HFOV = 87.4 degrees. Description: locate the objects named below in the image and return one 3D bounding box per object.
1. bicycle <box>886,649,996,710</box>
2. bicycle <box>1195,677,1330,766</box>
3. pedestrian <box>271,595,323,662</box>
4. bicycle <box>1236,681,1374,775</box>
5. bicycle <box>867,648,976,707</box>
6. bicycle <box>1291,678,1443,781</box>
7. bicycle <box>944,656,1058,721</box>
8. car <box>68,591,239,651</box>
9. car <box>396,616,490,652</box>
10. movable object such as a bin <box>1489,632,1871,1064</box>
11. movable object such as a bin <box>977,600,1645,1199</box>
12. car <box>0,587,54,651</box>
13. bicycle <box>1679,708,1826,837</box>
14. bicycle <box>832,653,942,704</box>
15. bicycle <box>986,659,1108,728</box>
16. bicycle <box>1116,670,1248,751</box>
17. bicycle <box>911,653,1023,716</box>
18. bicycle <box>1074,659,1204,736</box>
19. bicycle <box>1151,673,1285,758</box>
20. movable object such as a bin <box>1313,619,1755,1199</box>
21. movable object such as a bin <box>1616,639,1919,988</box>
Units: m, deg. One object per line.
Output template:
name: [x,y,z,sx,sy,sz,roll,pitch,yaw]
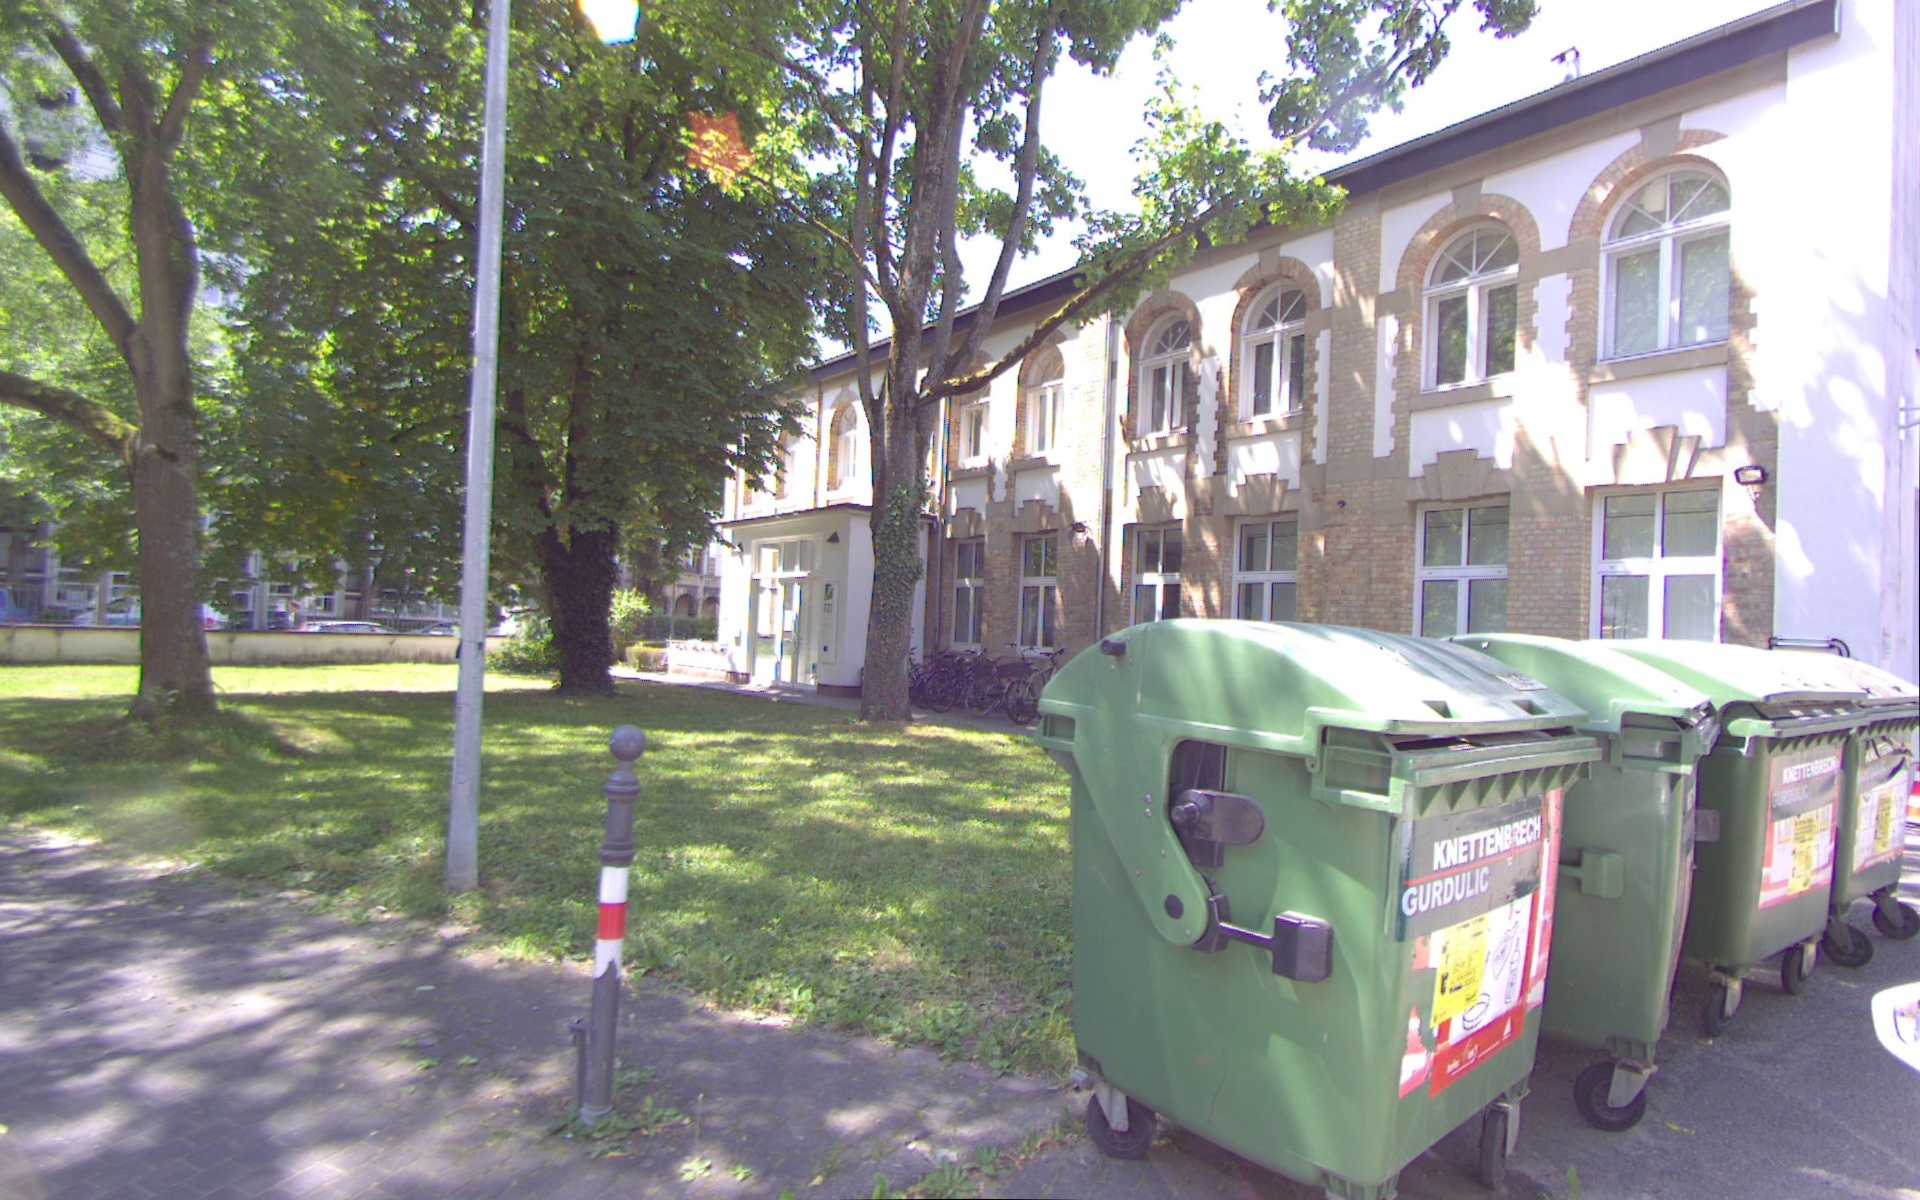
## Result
bicycle: [-0.317,1.441,18.397,0.562,1.024,2.247,1,-2,43]
bicycle: [3.961,1.531,13.029,2.243,1.024,0.600,3,-2,-42]
pedestrian: [-16.175,0.684,24.520,0.684,1.588,0.744,1,-1,22]
bicycle: [4.318,1.543,12.476,2.243,1.024,0.600,3,-2,-42]
bicycle: [-0.695,1.435,18.909,0.624,1.025,2.247,1,-2,43]
bicycle: [4.882,1.493,11.973,2.239,1.096,0.601,3,-2,-37]
bicycle: [0.731,1.482,17.163,0.599,1.024,2.247,1,-2,43]
car: [-30.502,0.825,38.158,4.553,2.040,1.995,3,-2,-14]
car: [-25.798,1.696,50.300,3.945,1.405,1.741,6,-1,-23]
movable object such as a bin: [3.116,0.916,4.348,1.251,1.499,1.036,4,-3,-38]
movable object such as a bin: [0.950,0.787,2.709,1.315,1.499,1.193,4,-3,-41]
car: [-32.713,0.549,32.475,4.564,2.040,1.990,3,-2,-22]
bicycle: [7.073,1.486,8.941,1.714,0.971,0.607,3,-2,-37]
bicycle: [-1.376,1.497,19.372,0.646,0.902,2.247,1,-2,43]
bicycle: [1.451,1.495,16.349,2.243,1.024,0.600,3,-2,-42]
bicycle: [3.138,1.507,14.040,2.243,1.024,0.600,3,-2,-42]
bicycle: [0.163,1.485,17.948,0.599,1.024,2.247,1,-2,43]
bicycle: [2.635,1.388,14.599,2.243,1.024,0.600,3,-2,-42]
bicycle: [3.513,1.509,13.513,2.243,1.024,0.600,3,-2,-42]
movable object such as a bin: [2.037,0.850,3.496,1.080,1.499,1.353,0,-3,41]
movable object such as a bin: [4.286,0.987,5.251,1.398,1.499,1.036,4,-3,-38]
